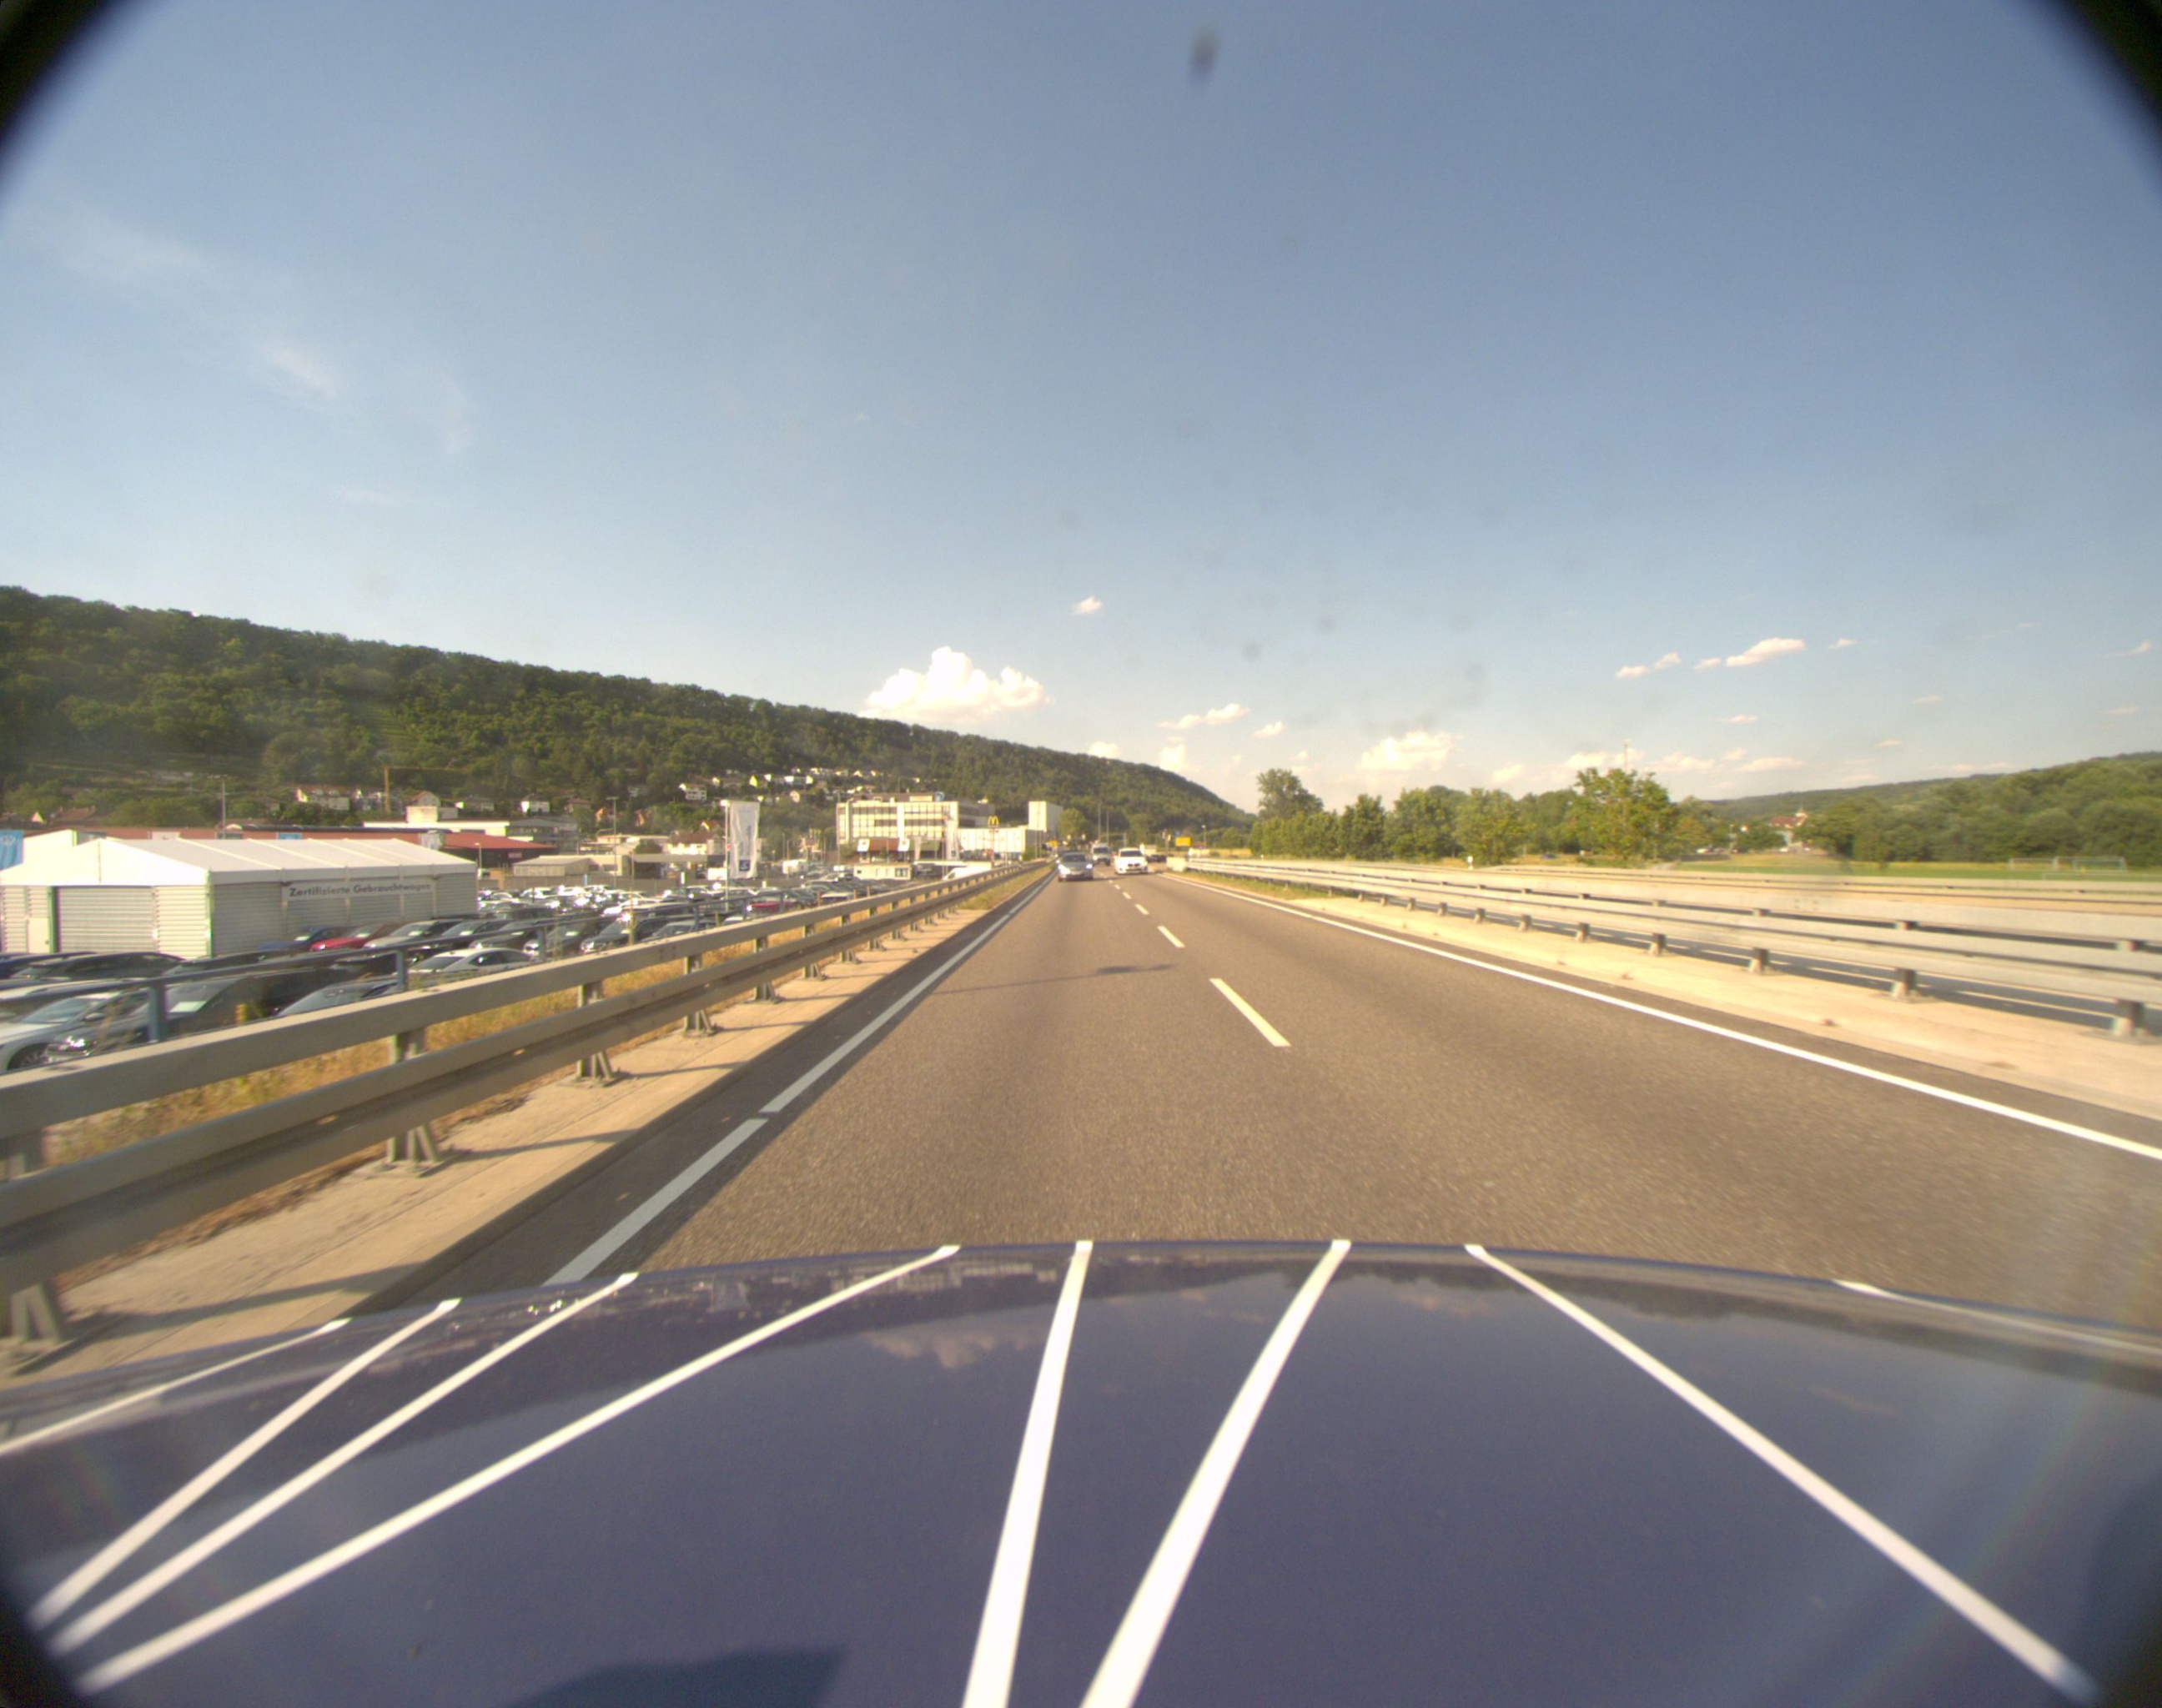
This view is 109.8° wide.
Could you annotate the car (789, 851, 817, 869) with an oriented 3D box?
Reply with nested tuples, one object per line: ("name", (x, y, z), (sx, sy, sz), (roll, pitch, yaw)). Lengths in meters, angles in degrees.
("car", (-41.820, 0.854, 114.443), (1.759, 2.535, 5.469), (-2, 2, 4))

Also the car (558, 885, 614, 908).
("car", (-46.096, 3.921, 70.841), (3.995, 1.849, 1.927), (-2, 2, 8))

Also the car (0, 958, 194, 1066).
("car", (-22.562, 3.439, 16.066), (1.884, 1.627, 4.729), (-2, 2, 2))

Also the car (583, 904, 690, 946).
("car", (-22.064, 3.484, 37.968), (1.883, 1.513, 4.732), (-2, 2, 10))

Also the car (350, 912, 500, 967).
("car", (-27.634, 3.550, 32.287), (1.883, 1.627, 4.730), (-2, 2, 6))

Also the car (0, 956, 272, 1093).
("car", (-20.191, 3.380, 15.718), (1.840, 1.706, 4.665), (-2, 2, -1))

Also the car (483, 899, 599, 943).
("car", (-27.183, 3.324, 38.461), (1.883, 1.627, 4.732), (-2, 2, 10))

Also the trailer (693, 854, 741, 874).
("trailer", (-42.582, 1.119, 89.120), (1.998, 2.011, 6.284), (-2, 2, 5))

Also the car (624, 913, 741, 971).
("car", (-15.874, 3.454, 30.594), (1.884, 1.627, 4.729), (-2, 2, 4))

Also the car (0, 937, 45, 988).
("car", (-39.000, 3.951, 25.509), (1.883, 1.627, 4.573), (-2, 2, 6))

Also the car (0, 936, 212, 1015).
("car", (-31.831, 3.818, 24.485), (1.883, 1.627, 4.730), (-2, 2, 6))

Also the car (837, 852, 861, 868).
("car", (-36.229, 0.852, 118.967), (1.759, 2.234, 5.297), (-2, 2, 4))

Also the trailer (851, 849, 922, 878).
("trailer", (-24.699, 1.202, 96.767), (7.897, 3.304, 3.358), (-2, 2, 5))

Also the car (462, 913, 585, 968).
("car", (-22.913, 3.523, 31.439), (1.778, 1.674, 4.001), (-2, 2, 7))

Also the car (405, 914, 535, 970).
("car", (-25.126, 3.578, 31.444), (1.778, 1.674, 4.001), (-2, 2, 7))

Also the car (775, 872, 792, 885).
("car", (-39.692, 3.264, 101.308), (1.683, 1.561, 3.767), (-3, 2, -25))

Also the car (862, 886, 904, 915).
("car", (-13.698, 3.184, 52.878), (1.742, 1.617, 4.310), (-2, 2, 0))

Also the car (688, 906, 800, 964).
("car", (-13.213, 3.134, 30.174), (1.883, 1.617, 4.730), (-2, 2, 6))

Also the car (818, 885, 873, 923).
("car", (-13.290, 2.774, 43.181), (1.885, 1.617, 4.726), (-3, 2, -4))

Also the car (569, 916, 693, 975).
("car", (-18.085, 3.631, 30.846), (1.884, 1.627, 4.729), (-2, 2, 4))

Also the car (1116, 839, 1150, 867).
("car", (3.113, -0.101, 46.319), (1.825, 1.552, 3.999), (-2, 2, 1))

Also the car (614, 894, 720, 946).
("car", (-20.116, 3.161, 37.194), (1.883, 1.920, 4.732), (-2, 2, 10))

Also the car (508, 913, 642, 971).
("car", (-20.537, 3.535, 31.146), (1.883, 1.627, 4.730), (-2, 2, 6))

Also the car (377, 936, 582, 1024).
("car", (-17.297, 3.554, 22.236), (1.884, 1.627, 4.730), (-2, 2, 5))

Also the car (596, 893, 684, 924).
("car", (-27.610, 3.431, 47.663), (4.433, 1.627, 1.886), (-2, 2, 8))

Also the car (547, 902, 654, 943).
("car", (-24.616, 3.455, 39.182), (1.883, 1.513, 4.732), (-2, 2, 10))

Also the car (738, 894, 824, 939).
("car", (-14.619, 3.019, 37.327), (1.883, 1.617, 4.730), (-2, 2, 6))

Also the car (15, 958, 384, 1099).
("car", (-17.604, 3.379, 15.673), (2.004, 1.641, 4.728), (-2, 2, -1))

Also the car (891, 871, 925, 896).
("car", (-13.575, 2.313, 59.836), (1.742, 1.617, 4.309), (-2, 2, -2))

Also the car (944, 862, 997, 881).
("car", (-13.197, 2.089, 90.693), (5.895, 2.002, 2.000), (-2, 2, 3))

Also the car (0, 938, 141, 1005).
("car", (-34.123, 3.844, 24.314), (1.883, 1.627, 4.730), (-2, 2, 6))
